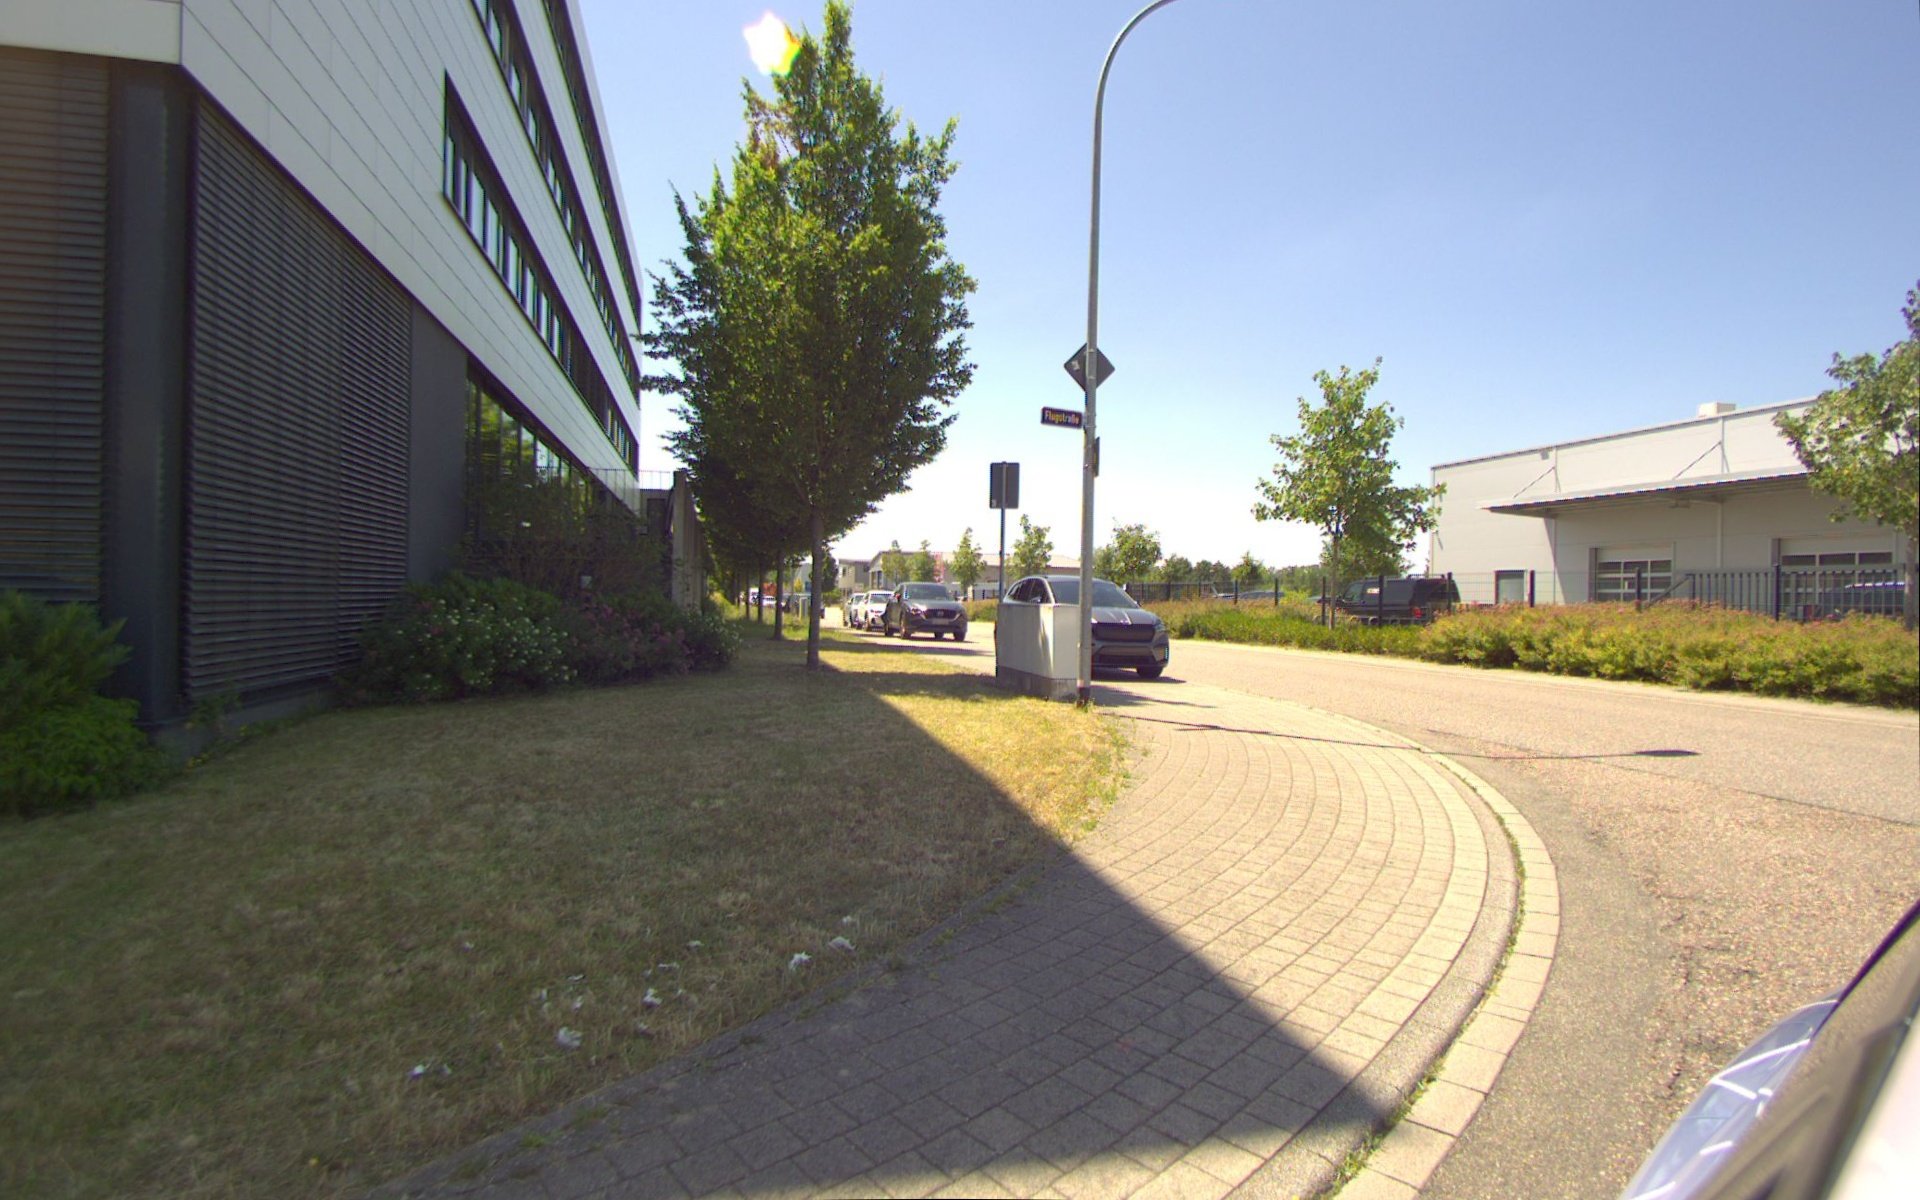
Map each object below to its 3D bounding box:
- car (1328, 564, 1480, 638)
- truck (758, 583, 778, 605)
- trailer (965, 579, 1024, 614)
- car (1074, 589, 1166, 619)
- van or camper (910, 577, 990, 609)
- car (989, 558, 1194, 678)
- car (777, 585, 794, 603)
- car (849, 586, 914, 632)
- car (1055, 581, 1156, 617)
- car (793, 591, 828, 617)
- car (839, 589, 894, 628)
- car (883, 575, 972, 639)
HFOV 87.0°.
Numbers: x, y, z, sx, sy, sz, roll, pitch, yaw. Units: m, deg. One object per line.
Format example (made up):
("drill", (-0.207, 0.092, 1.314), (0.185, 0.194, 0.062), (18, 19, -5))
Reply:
("car", (13.808, 0.010, 31.816), (1.966, 2.125, 4.702), (-1, 1, -12))
("truck", (-33.099, -0.987, 173.918), (2.553, 3.590, 10.522), (2, 0, -15))
("trailer", (2.500, -0.288, 73.267), (3.916, 2.390, 1.730), (-2, 0, -16))
("car", (8.154, 0.187, 51.777), (4.228, 1.464, 1.968), (0, 0, -14))
("van or camper", (-0.891, -0.626, 89.152), (6.656, 2.718, 2.580), (1, 0, -13))
("car", (2.018, 0.273, 17.074), (1.771, 1.683, 4.617), (3, -1, -15))
("car", (-31.787, -1.077, 184.159), (2.548, 3.272, 6.233), (1, 0, -13))
("car", (-2.898, 0.297, 36.731), (1.685, 1.500, 4.039), (3, -1, -13))
("car", (7.797, -0.049, 54.250), (4.969, 1.874, 1.968), (0, 0, -14))
("car", (-9.390, 0.232, 63.404), (1.661, 1.495, 4.277), (2, 0, -14))
("car", (-3.895, 0.327, 41.562), (1.685, 1.441, 3.958), (3, -1, -13))
("car", (-1.036, 0.191, 29.677), (1.726, 1.684, 4.371), (2, 0, -13))
